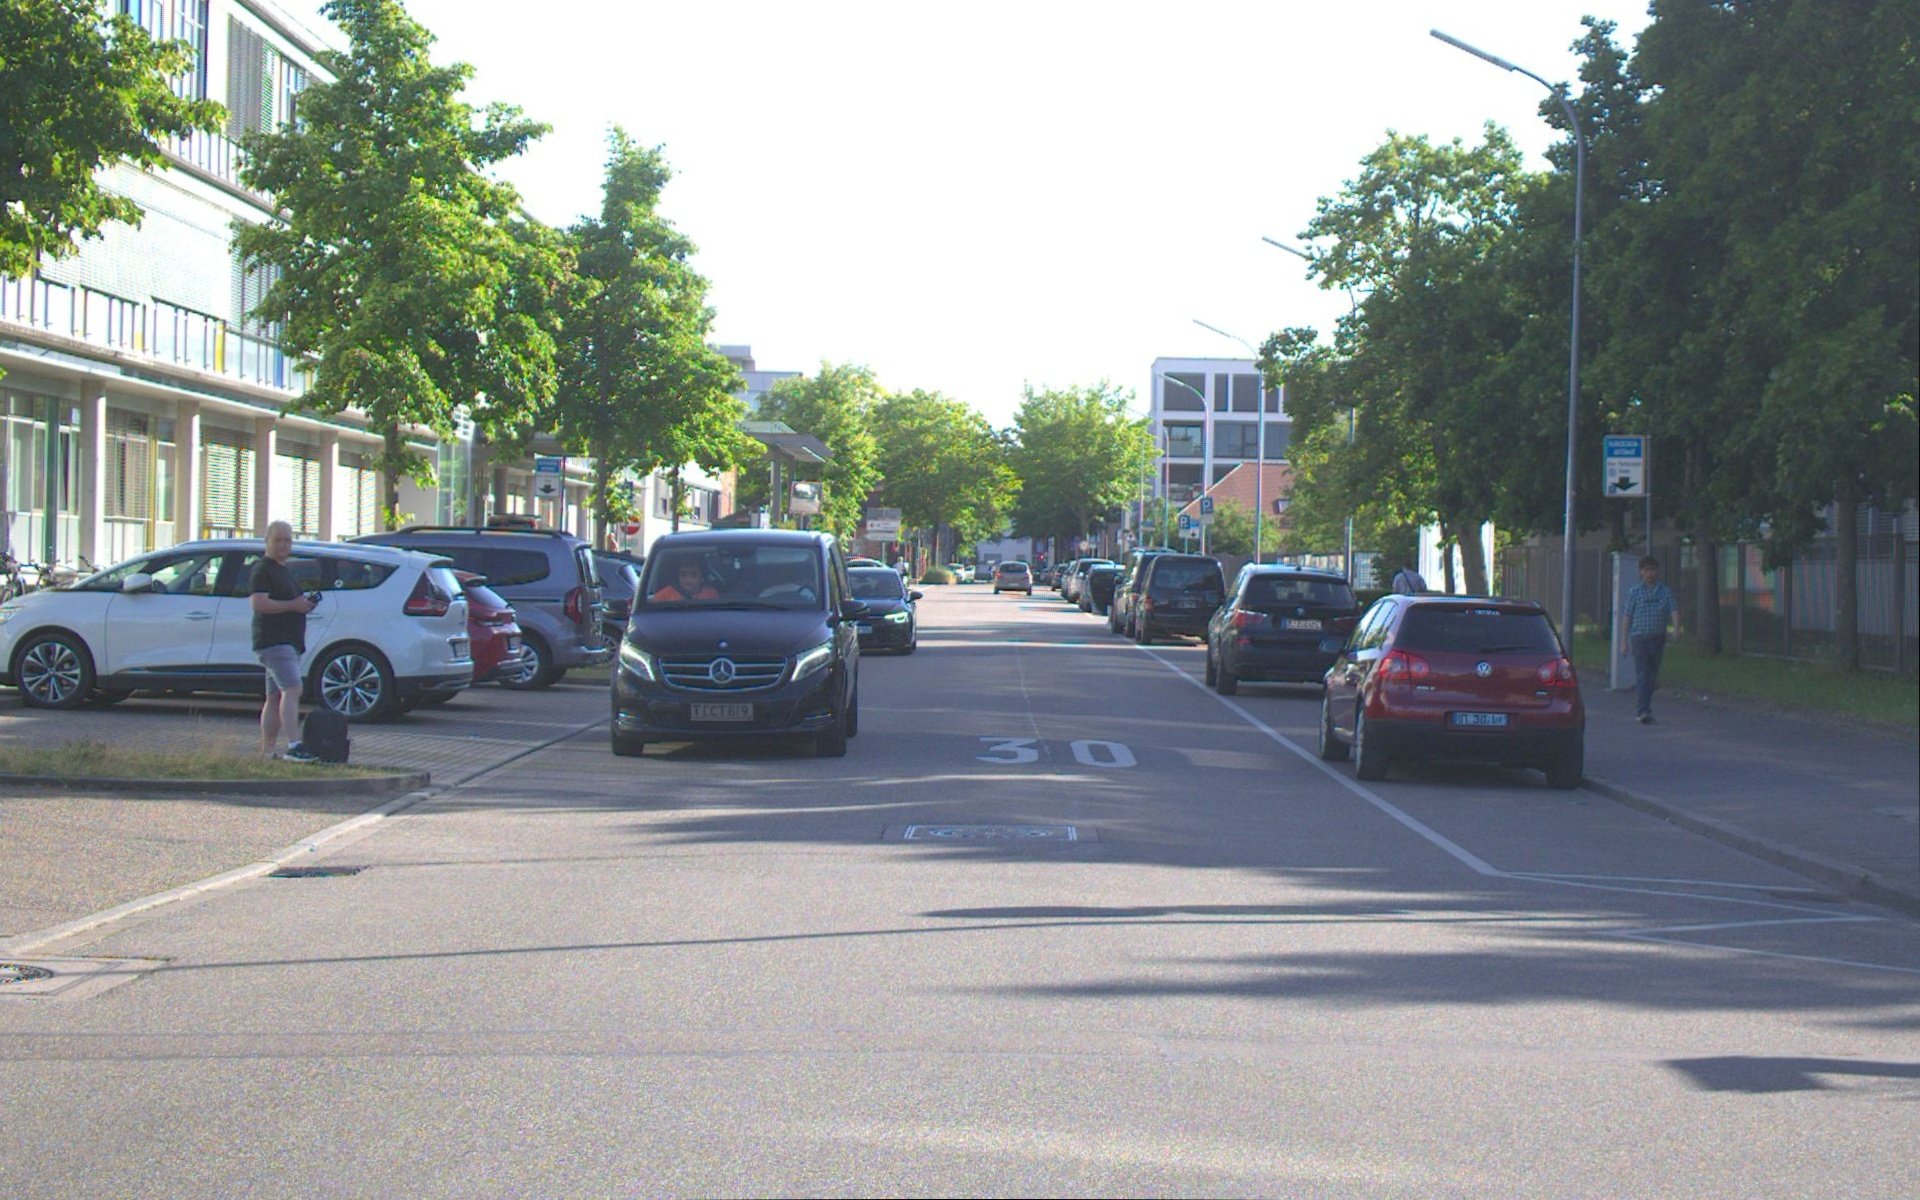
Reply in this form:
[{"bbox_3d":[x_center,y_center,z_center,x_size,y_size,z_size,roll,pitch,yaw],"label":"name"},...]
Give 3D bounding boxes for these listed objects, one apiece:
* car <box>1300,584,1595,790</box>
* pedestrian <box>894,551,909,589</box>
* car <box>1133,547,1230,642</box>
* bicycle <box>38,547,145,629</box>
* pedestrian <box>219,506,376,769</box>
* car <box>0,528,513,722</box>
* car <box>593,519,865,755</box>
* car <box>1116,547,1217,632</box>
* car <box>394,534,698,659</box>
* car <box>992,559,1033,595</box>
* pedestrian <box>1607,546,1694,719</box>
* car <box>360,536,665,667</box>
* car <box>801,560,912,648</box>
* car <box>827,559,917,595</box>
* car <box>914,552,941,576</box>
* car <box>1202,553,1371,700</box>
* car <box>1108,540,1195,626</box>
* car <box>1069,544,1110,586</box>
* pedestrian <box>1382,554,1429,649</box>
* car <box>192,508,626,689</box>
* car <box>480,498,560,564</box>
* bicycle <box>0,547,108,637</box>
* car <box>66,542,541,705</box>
[{"bbox_3d":[3.918,0.649,28.329,1.720,1.450,4.652,2,1,0],"label":"car"},{"bbox_3d":[-2.493,-1.267,146.200,0.618,1.618,0.716,0,1,1],"label":"pedestrian"},{"bbox_3d":[4.430,-0.138,69.323,1.733,1.824,3.905,1,1,1],"label":"car"},{"bbox_3d":[-12.475,-0.181,49.423,0.892,1.107,1.889,3,1,4],"label":"bicycle"},{"bbox_3d":[-4.802,0.261,24.967,0.858,1.836,0.825,3,1,3],"label":"pedestrian"},{"bbox_3d":[-6.705,0.214,32.407,4.612,1.645,1.867,2,0,4],"label":"car"},{"bbox_3d":[-1.896,0.255,29.743,1.955,1.861,5.255,0,1,0],"label":"car"},{"bbox_3d":[4.499,-0.251,75.563,1.993,1.816,4.198,0,1,1],"label":"car"},{"bbox_3d":[-6.049,-0.061,50.636,4.246,1.606,2.048,3,1,-3],"label":"car"},{"bbox_3d":[2.357,-1.056,154.494,1.743,1.538,4.000,2,1,1],"label":"car"},{"bbox_3d":[7.132,0.326,35.552,0.717,1.752,0.885,-1,1,1],"label":"pedestrian"},{"bbox_3d":[-6.158,0.011,47.683,3.986,1.601,1.872,3,1,-3],"label":"car"},{"bbox_3d":[-1.716,0.041,58.251,1.703,1.446,4.086,0,1,1],"label":"car"},{"bbox_3d":[-4.012,-1.064,157.028,3.987,1.514,2.000,2,-1,1],"label":"car"},{"bbox_3d":[-2.137,-2.349,223.401,1.727,1.531,4.000,1,1,-1],"label":"car"},{"bbox_3d":[4.158,0.289,44.365,1.812,1.660,4.592,3,2,2],"label":"car"},{"bbox_3d":[4.528,-0.427,81.809,1.874,1.971,4.000,0,1,1],"label":"car"},{"bbox_3d":[4.903,-1.345,130.439,1.436,1.555,3.042,1,1,1],"label":"car"},{"bbox_3d":[7.898,0.025,60.954,0.698,1.655,0.752,-1,1,1],"label":"pedestrian"},{"bbox_3d":[-6.465,-0.038,40.650,4.742,1.858,1.827,3,1,1],"label":"car"},{"bbox_3d":[-14.366,-2.230,112.375,1.993,2.007,4.000,2,0,1],"label":"car"},{"bbox_3d":[-12.411,-0.112,45.632,0.870,1.149,2.370,3,0,22],"label":"bicycle"},{"bbox_3d":[-6.634,0.227,35.050,4.434,1.496,1.827,2,0,1],"label":"car"}]
